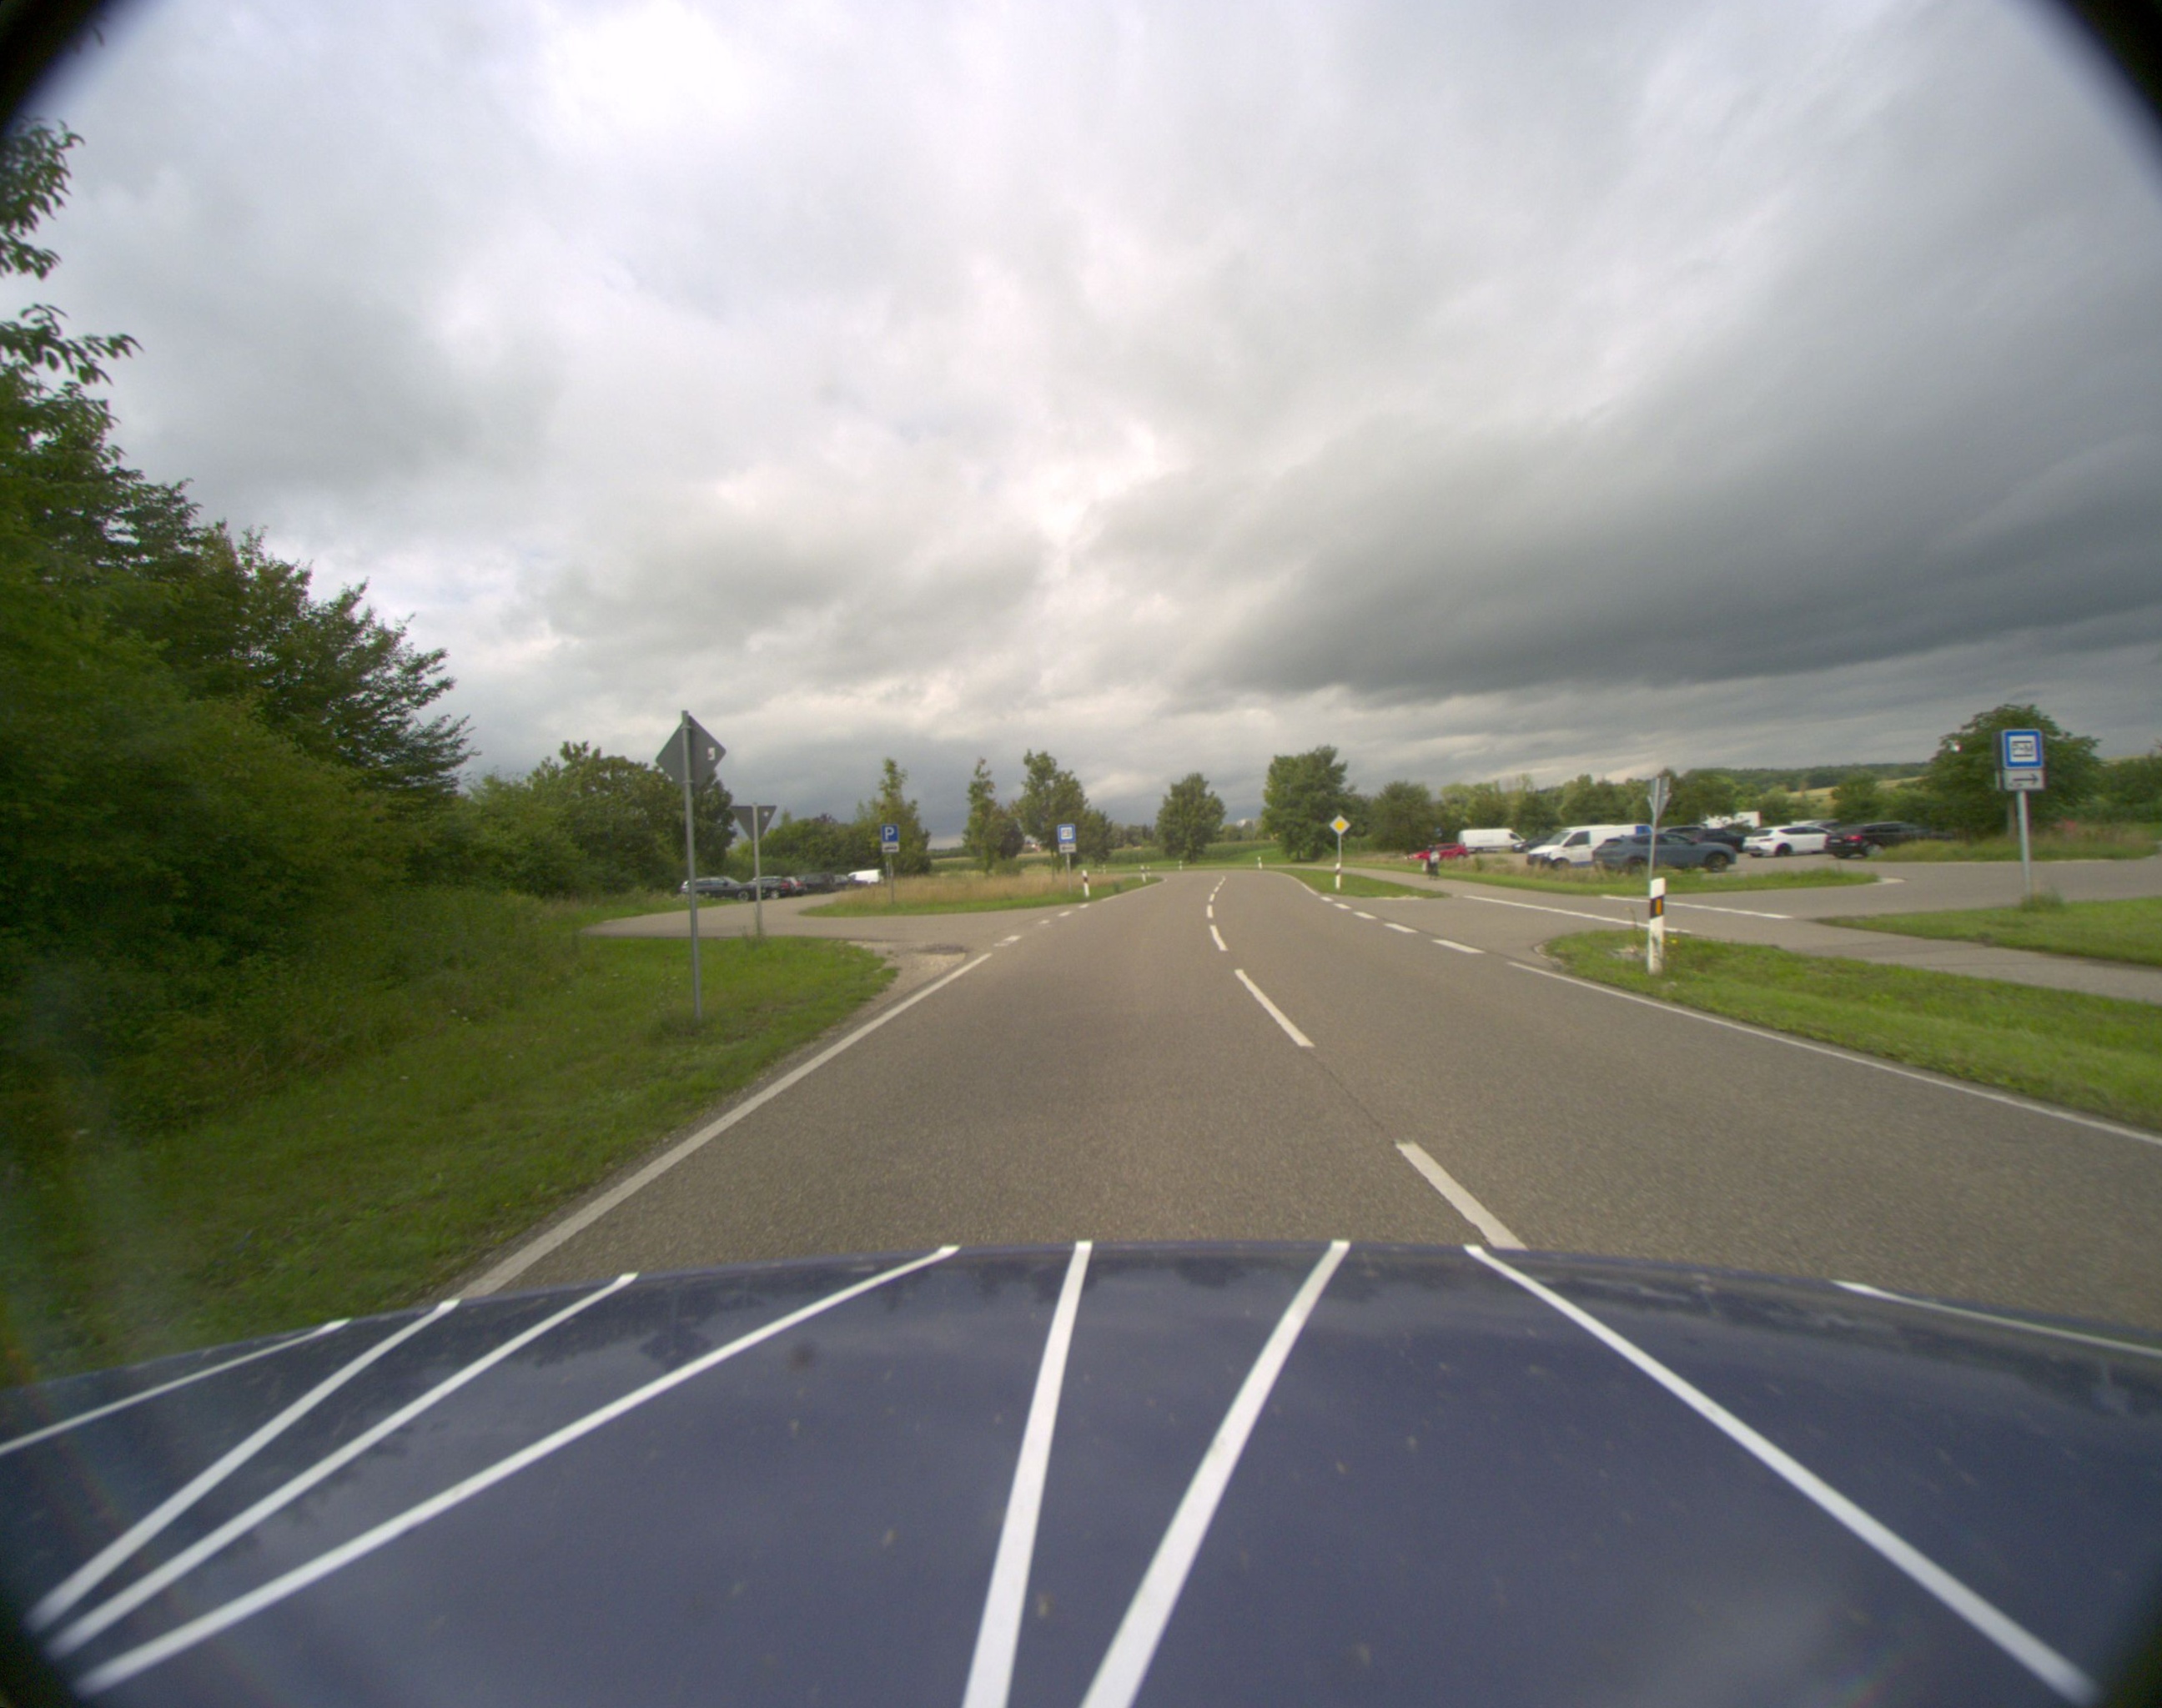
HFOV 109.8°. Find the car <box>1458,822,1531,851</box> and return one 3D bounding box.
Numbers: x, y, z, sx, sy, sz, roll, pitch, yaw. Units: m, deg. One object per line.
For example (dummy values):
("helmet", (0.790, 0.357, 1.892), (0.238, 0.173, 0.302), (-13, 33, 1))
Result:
("car", (44.195, -1.857, 81.341), (6.326, 2.604, 2.203), (-3, 0, 11))

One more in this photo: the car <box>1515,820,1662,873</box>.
("car", (22.206, -0.321, 33.427), (4.903, 2.002, 2.058), (-3, 0, 10))

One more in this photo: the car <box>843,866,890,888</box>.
("car", (-20.855, 2.245, 74.082), (3.998, 1.849, 1.999), (-3, 0, -2))

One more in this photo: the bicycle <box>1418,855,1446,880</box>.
("bicycle", (15.768, 0.586, 34.192), (0.636, 1.026, 2.192), (-3, 0, 13))

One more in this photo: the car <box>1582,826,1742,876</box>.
("car", (21.634, -0.103, 28.482), (4.255, 1.585, 2.001), (-3, 0, 11))

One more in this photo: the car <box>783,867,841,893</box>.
("car", (-21.940, 2.097, 62.073), (3.998, 1.849, 1.999), (-3, 0, -2))

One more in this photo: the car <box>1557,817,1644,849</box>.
("car", (37.871, -1.502, 55.507), (4.690, 1.914, 2.062), (-5, 0, 9))

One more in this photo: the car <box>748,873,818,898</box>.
("car", (-20.976, 2.191, 53.588), (4.007, 1.496, 2.051), (-3, 0, 0))

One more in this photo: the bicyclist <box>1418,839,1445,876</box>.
("bicyclist", (15.771, 0.151, 34.195), (0.832, 1.556, 1.056), (-3, 0, 14))

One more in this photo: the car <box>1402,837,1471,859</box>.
("car", (26.998, -0.464, 57.853), (4.372, 1.408, 1.815), (-3, 0, 10))

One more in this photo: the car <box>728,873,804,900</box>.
("car", (-20.693, 2.119, 50.078), (4.165, 1.406, 1.999), (-3, 0, -6))

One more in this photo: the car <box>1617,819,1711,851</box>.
("car", (35.280, -1.110, 46.065), (3.994, 1.543, 1.967), (-5, 0, 11))

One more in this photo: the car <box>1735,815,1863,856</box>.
("car", (33.948, -0.854, 36.008), (3.996, 1.543, 1.966), (-5, 0, 4))

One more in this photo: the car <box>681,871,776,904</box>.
("car", (-20.383, 1.926, 44.119), (4.491, 1.572, 1.999), (-3, 0, -6))

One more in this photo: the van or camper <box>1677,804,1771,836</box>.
("van or camper", (58.713, -3.053, 69.525), (6.039, 2.333, 2.288), (-5, 0, 13))

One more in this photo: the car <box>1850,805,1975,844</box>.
("car", (39.131, -1.369, 35.895), (3.784, 1.517, 1.780), (-4, 0, 42))

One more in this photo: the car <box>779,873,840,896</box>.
("car", (-21.077, 2.372, 59.168), (3.999, 1.488, 1.999), (-3, 0, -6))

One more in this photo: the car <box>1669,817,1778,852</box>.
("car", (34.610, -1.042, 41.029), (3.994, 1.543, 1.967), (-5, 0, 11))

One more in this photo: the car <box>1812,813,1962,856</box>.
("car", (32.999, -0.775, 31.191), (3.996, 1.379, 1.842), (-5, 0, 4))

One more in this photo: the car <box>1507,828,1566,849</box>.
("car", (39.402, -1.345, 65.816), (3.994, 1.516, 1.795), (-4, 0, 9))

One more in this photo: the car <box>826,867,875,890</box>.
("car", (-21.438, 2.272, 70.837), (3.998, 1.849, 1.744), (-3, 0, -2))

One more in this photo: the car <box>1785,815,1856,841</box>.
("car", (52.645, -1.822, 54.229), (1.996, 1.613, 4.456), (-3, 0, 21))
